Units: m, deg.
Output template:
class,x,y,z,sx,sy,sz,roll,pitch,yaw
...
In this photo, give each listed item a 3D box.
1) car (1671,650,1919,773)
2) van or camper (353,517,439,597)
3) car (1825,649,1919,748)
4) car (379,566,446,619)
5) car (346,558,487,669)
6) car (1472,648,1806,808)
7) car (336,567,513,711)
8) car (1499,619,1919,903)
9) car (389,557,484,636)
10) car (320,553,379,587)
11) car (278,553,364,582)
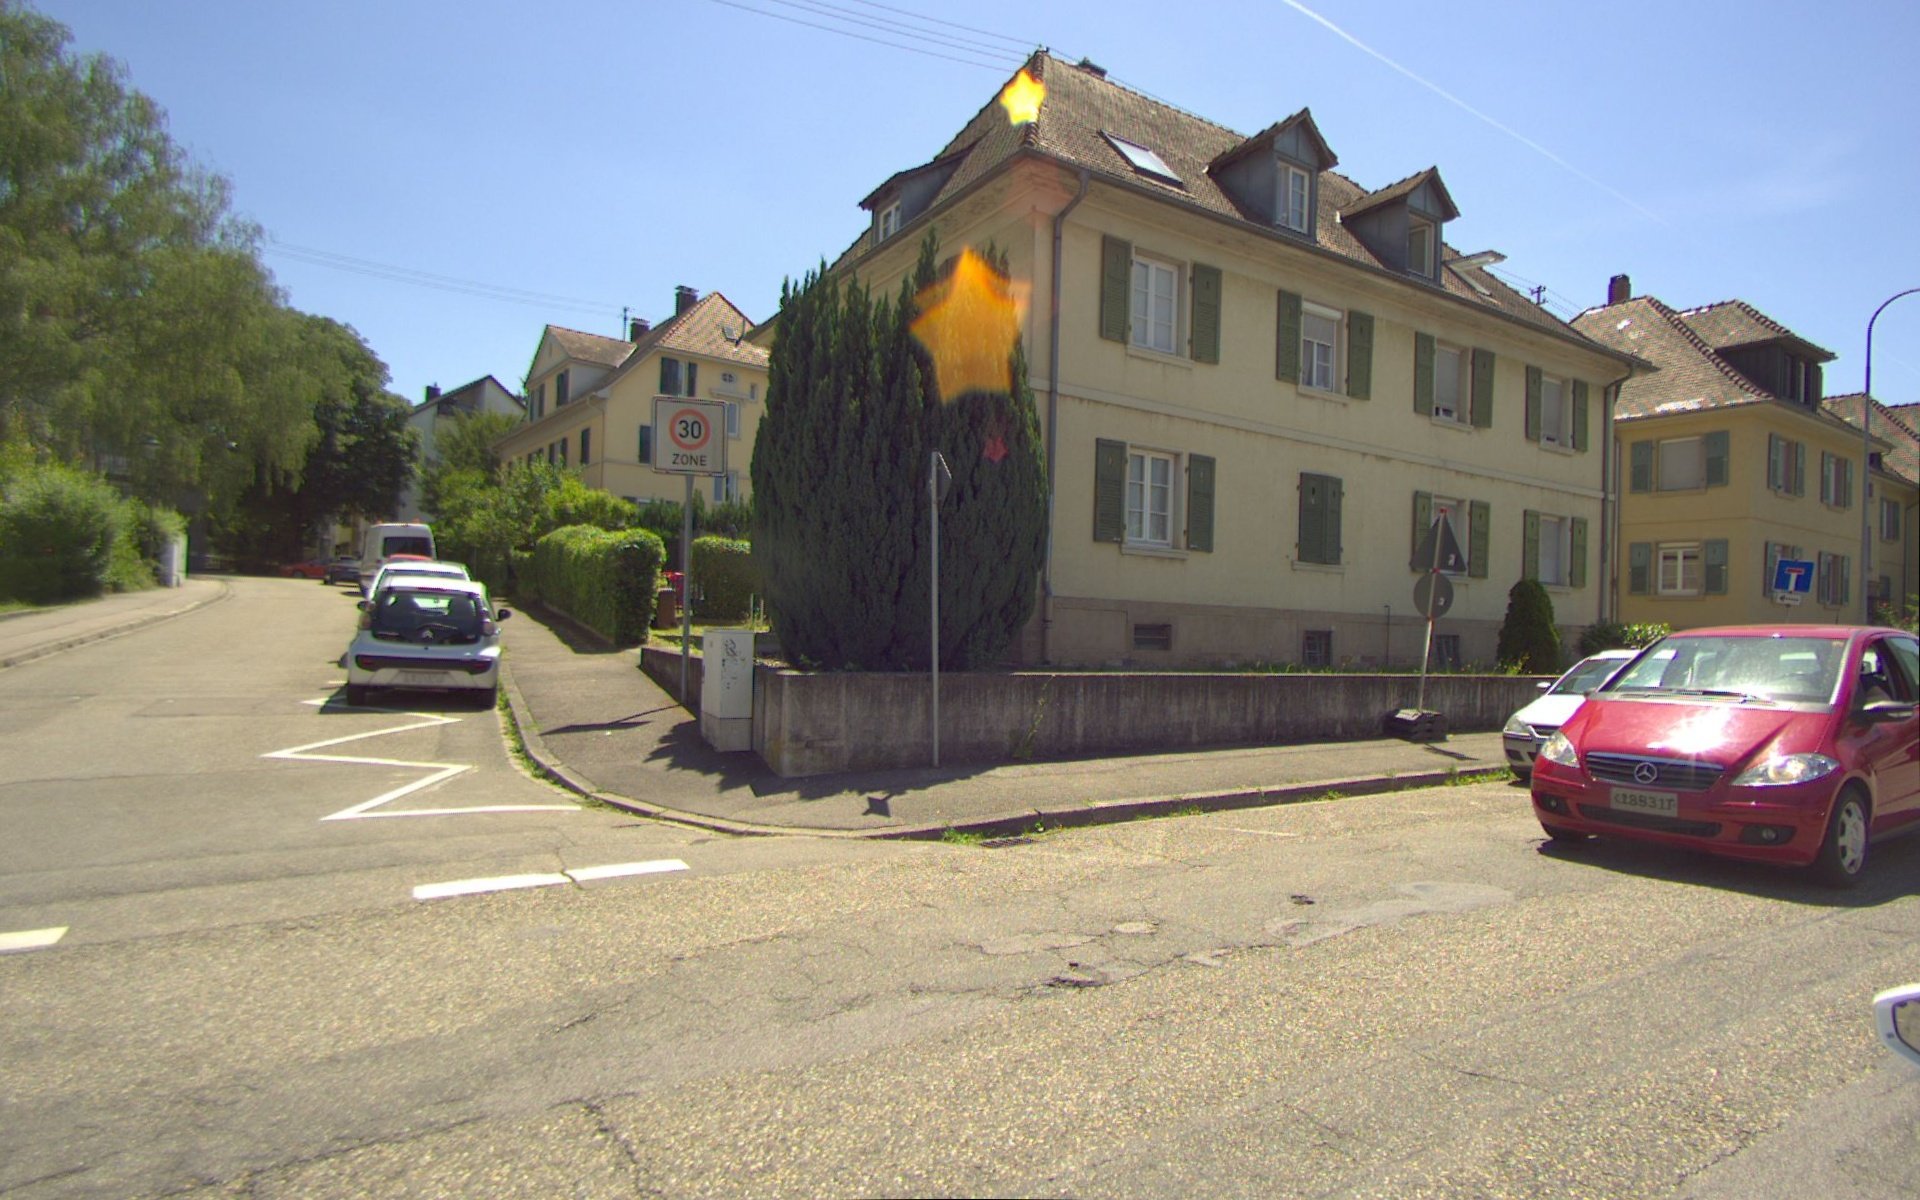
class,x,y,z,sx,sy,sz,roll,pitch,yaw
car,11.593,1.414,13.666,4.176,1.420,1.784,2,-3,-34
van or camper,-21.465,-1.566,38.124,1.983,2.747,5.311,2,0,-38
car,16.072,1.582,16.612,4.035,1.504,1.705,3,-3,-35
car,-17.568,-0.271,32.197,1.728,1.476,3.563,3,1,-30
car,-8.728,0.153,16.385,1.726,1.476,3.569,3,2,-25
car,7.578,1.286,11.132,3.884,1.466,1.749,2,-3,-34
car,-6.714,0.421,12.848,1.712,1.476,3.192,3,2,-25
car,5.860,0.988,7.397,3.657,1.586,1.804,2,-3,-33
car,-11.712,-0.116,22.475,1.714,1.476,3.188,3,2,-28
car,-28.760,-1.434,47.281,1.723,1.476,3.171,1,1,-43
car,-37.667,-1.921,59.272,3.972,1.496,1.975,2,1,-43
